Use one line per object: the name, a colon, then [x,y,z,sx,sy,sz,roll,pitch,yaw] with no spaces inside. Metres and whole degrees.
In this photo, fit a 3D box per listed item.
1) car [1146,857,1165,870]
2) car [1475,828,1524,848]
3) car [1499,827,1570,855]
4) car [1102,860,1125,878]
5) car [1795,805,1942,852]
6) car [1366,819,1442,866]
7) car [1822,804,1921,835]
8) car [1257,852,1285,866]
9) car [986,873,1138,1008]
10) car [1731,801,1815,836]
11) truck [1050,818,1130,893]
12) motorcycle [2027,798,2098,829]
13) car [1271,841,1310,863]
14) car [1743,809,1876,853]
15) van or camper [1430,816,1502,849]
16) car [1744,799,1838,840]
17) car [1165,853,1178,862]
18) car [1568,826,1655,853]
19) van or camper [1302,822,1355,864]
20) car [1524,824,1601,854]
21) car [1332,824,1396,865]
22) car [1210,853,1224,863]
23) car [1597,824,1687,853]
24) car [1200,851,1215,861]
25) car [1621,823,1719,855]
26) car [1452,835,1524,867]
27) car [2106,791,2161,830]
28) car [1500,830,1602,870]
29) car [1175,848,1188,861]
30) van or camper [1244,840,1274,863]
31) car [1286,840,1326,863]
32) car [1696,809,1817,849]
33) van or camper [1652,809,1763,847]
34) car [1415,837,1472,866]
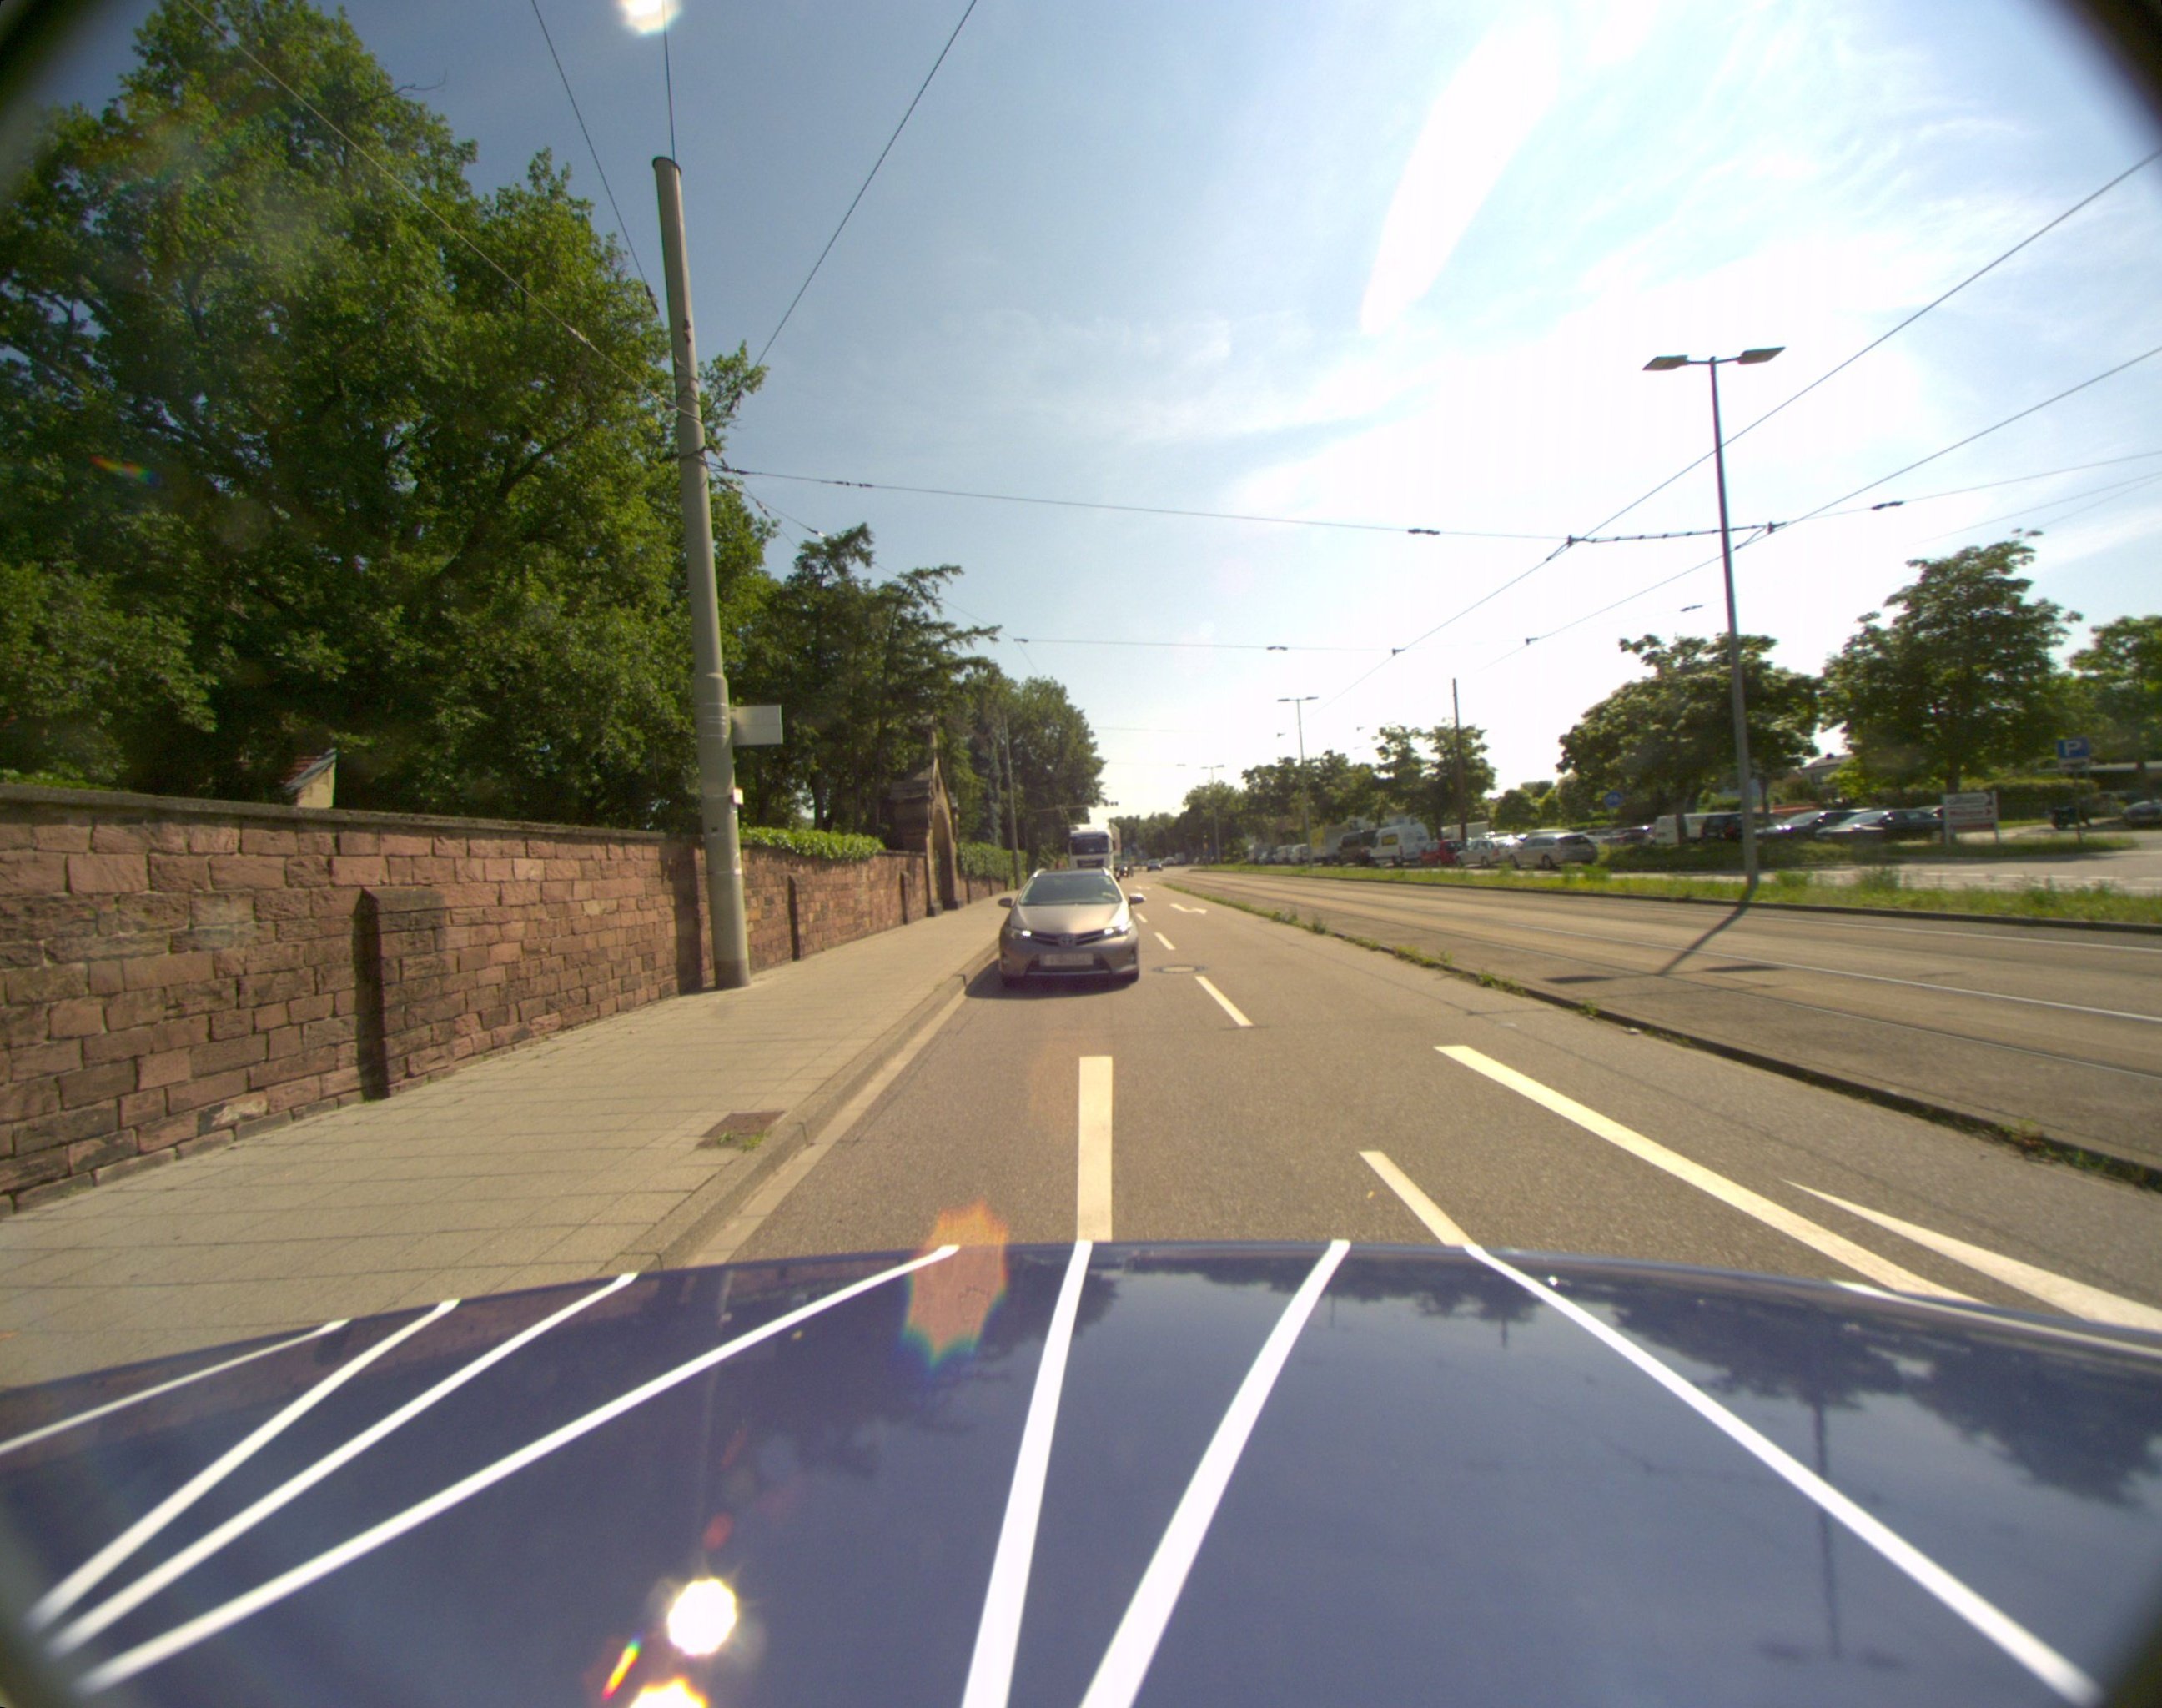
car: [9.052,1.143,92.849,1.933,1.324,4.001,-4,0,1]
car: [44.003,-1.669,79.946,3.998,1.879,1.785,-4,0,-2]
car: [32.039,-0.937,53.741,3.997,1.684,1.663,-4,0,1]
car: [2.916,1.366,68.820,1.759,1.455,4.000,-4,0,0]
car: [30.662,-0.972,29.661,3.997,1.554,1.663,-4,0,-1]
car: [20.534,-0.662,48.662,2.201,2.615,5.980,-6,-1,1]
car: [44.005,-1.911,42.340,3.856,1.416,1.532,-4,0,-1]
car: [21.353,0.569,85.609,1.937,1.446,4.886,-5,0,1]
car: [-0.143,1.057,10.835,1.719,1.439,4.031,-2,-1,2]
car: [47.360,-2.424,52.030,3.998,1.991,1.911,-4,0,-2]
truck: [0.953,0.108,49.899,3.389,4.045,14.295,-4,-1,7]
motorcycle: [44.156,-1.799,34.191,2.131,1.226,0.735,-4,0,2]
car: [21.714,-0.184,78.959,2.202,1.929,5.184,-5,-1,-3]
car: [30.695,-0.961,32.074,3.997,1.554,1.663,-4,0,-1]
van or camper: [45.407,-2.519,89.699,6.968,3.225,2.582,-5,0,-1]
car: [44.058,-2.138,47.207,3.998,2.187,1.910,-4,0,-2]
car: [17.317,0.747,145.141,2.048,1.587,4.661,-4,0,4]
car: [31.623,-0.847,45.342,3.997,1.363,1.660,-4,0,-2]
van or camper: [20.846,-0.845,64.338,2.201,3.221,6.773,-6,-1,2]
car: [32.115,-0.978,50.698,3.997,1.684,1.663,-4,0,1]
car: [20.642,-0.658,55.720,2.201,2.653,6.080,-6,0,0]
car: [21.764,0.707,121.422,1.619,1.442,4.084,-4,-1,2]
car: [31.617,-0.884,42.892,3.998,1.363,1.489,-4,0,-3]
car: [21.946,0.418,132.212,1.679,1.603,4.243,-4,-1,-1]
car: [30.754,-0.784,39.750,3.998,1.363,1.489,-4,0,-3]
car: [20.424,-0.140,38.351,1.295,1.481,4.351,-4,0,1]
car: [43.178,-1.826,29.703,3.983,1.416,1.676,-4,-1,-2]
car: [20.358,-0.138,33.168,1.608,1.481,4.619,-6,-1,3]
car: [22.367,0.197,169.461,2.016,2.635,6.087,-4,0,1]
van or camper: [21.599,-0.238,92.305,2.262,2.499,6.149,-4,-1,2]
car: [21.462,-0.179,72.697,2.201,1.929,5.186,-6,-1,2]
car: [30.856,-1.119,34.776,3.997,1.554,1.663,-4,0,-1]
van or camper: [30.793,-1.253,37.413,3.998,1.553,1.876,-4,0,-4]
car: [20.462,-0.102,43.028,1.295,1.481,3.676,-4,0,-1]
